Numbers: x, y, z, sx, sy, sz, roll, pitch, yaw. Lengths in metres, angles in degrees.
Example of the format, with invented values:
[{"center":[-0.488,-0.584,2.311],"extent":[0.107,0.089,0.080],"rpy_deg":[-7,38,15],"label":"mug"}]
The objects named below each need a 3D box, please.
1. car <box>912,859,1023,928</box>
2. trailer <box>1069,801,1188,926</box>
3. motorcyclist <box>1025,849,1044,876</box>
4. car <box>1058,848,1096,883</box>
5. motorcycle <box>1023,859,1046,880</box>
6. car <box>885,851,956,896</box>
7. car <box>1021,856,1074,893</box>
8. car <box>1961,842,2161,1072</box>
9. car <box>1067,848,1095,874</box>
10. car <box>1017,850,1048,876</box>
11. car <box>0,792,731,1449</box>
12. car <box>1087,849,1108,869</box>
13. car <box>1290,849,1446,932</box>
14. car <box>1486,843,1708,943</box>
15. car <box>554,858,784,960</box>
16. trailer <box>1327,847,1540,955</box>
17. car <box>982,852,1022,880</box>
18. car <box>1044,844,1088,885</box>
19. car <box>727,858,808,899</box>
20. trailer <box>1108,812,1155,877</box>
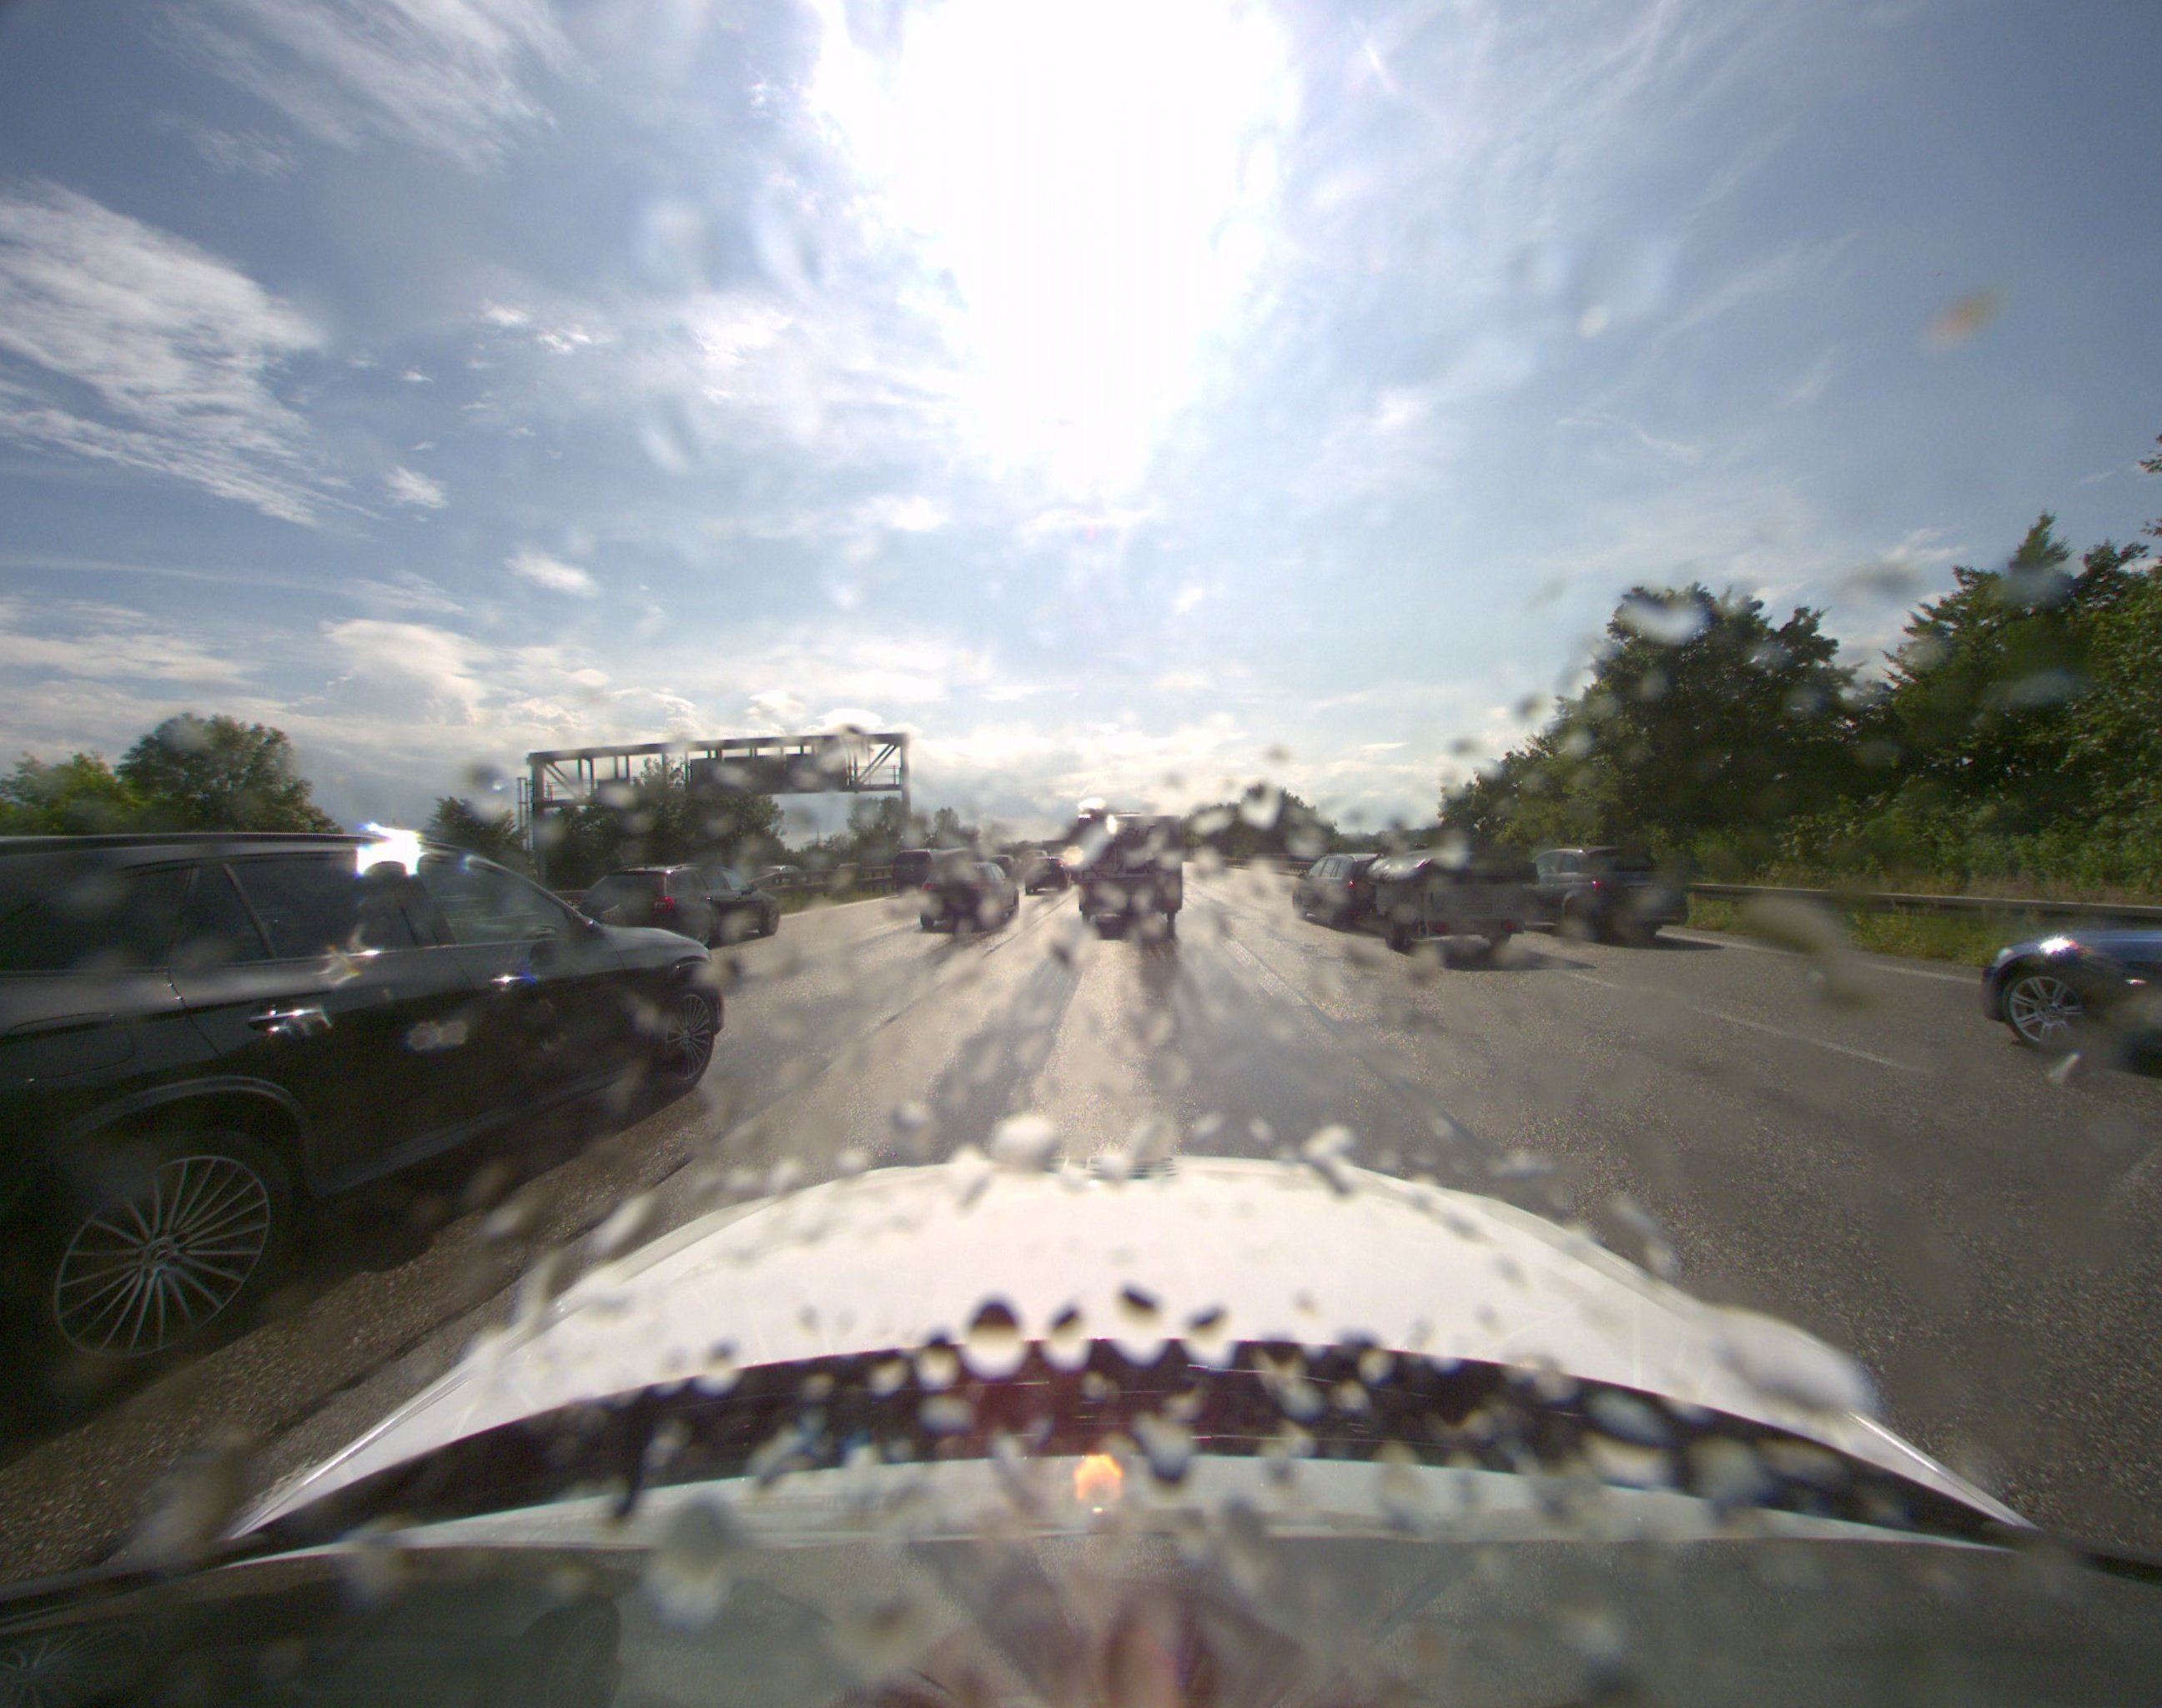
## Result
[{"center":[-2.512,0.840,19.011],"extent":[1.749,1.387,3.949],"rpy_deg":[-1,0,4],"label":"car"},{"center":[1.129,0.208,19.590],"extent":[2.364,2.483,6.528],"rpy_deg":[0,0,3],"label":"trailer"},{"center":[-2.995,0.552,52.555],"extent":[1.059,1.718,0.786],"rpy_deg":[-1,-1,3],"label":"motorcyclist"},{"center":[-0.226,0.679,51.021],"extent":[1.985,2.013,4.004],"rpy_deg":[2,0,4],"label":"car"},{"center":[-2.984,0.995,52.591],"extent":[1.069,1.271,2.693],"rpy_deg":[-1,0,4],"label":"motorcycle"},{"center":[-6.497,0.767,33.384],"extent":[1.986,1.720,4.001],"rpy_deg":[0,0,2],"label":"car"},{"center":[-1.329,0.801,33.625],"extent":[1.798,1.407,4.003],"rpy_deg":[0,0,3],"label":"car"},{"center":[7.420,0.618,3.992],"extent":[1.763,1.401,4.294],"rpy_deg":[-1,0,4],"label":"car"},{"center":[0.044,0.542,65.161],"extent":[1.985,2.013,4.004],"rpy_deg":[-1,0,4],"label":"car"},{"center":[-3.980,0.705,67.781],"extent":[1.985,2.013,4.004],"rpy_deg":[2,0,4],"label":"car"},{"center":[-3.649,0.700,3.721],"extent":[1.985,1.661,4.409],"rpy_deg":[-1,0,3],"label":"car"},{"center":[1.735,0.528,85.745],"extent":[1.985,2.013,4.004],"rpy_deg":[-1,0,4],"label":"car"},{"center":[5.648,0.646,16.590],"extent":[1.847,1.442,4.261],"rpy_deg":[-1,0,3],"label":"car"},{"center":[8.714,0.594,14.157],"extent":[1.664,1.482,3.674],"rpy_deg":[-1,0,3],"label":"car"},{"center":[-7.134,0.871,14.684],"extent":[1.749,1.516,4.213],"rpy_deg":[-1,0,4],"label":"car"},{"center":[5.461,0.643,13.260],"extent":[1.847,1.442,4.151],"rpy_deg":[-1,0,3],"label":"trailer"},{"center":[-5.134,0.759,53.510],"extent":[1.985,1.772,4.004],"rpy_deg":[-1,0,4],"label":"car"},{"center":[-0.728,0.533,42.960],"extent":[1.985,2.013,4.004],"rpy_deg":[0,0,4],"label":"car"},{"center":[-13.982,1.050,36.630],"extent":[1.987,1.706,4.154],"rpy_deg":[-1,0,0],"label":"car"},{"center":[3.712,-0.595,57.444],"extent":[2.992,4.166,8.548],"rpy_deg":[-1,0,5],"label":"trailer"}]
